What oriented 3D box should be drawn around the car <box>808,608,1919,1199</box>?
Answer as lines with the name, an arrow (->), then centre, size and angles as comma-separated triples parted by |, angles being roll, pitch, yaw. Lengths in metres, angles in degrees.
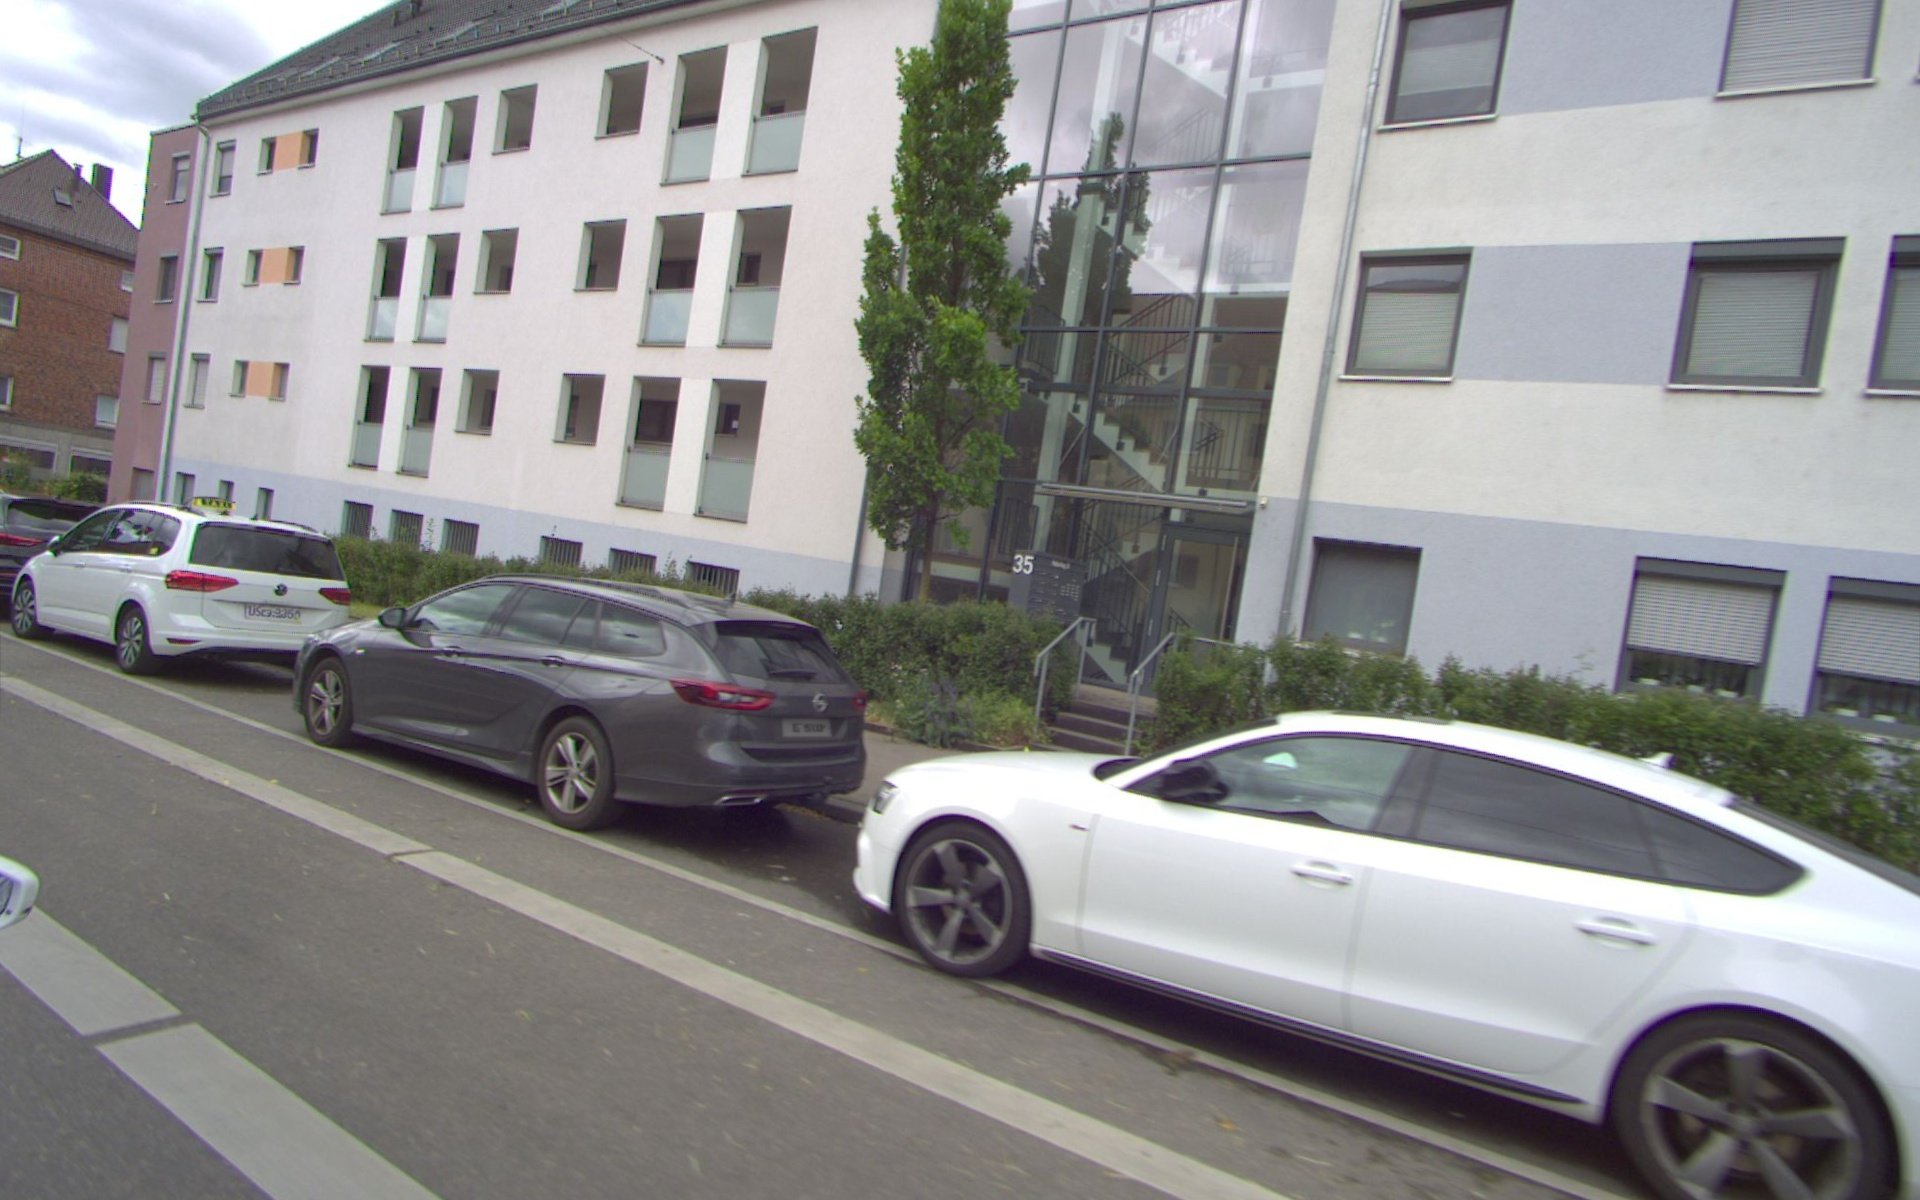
car -> 1.699, 1.085, 4.384 | 4.423, 1.430, 1.734 | 8, -1, 30

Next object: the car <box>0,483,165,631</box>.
car -> -12.809, -0.708, 13.478 | 4.495, 1.606, 1.738 | 7, -2, 30

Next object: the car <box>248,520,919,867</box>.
car -> -2.885, 0.483, 7.296 | 4.865, 1.485, 1.749 | 8, -1, 30

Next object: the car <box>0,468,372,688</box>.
car -> -8.536, -0.282, 10.847 | 4.474, 1.736, 1.662 | 8, -1, 30
